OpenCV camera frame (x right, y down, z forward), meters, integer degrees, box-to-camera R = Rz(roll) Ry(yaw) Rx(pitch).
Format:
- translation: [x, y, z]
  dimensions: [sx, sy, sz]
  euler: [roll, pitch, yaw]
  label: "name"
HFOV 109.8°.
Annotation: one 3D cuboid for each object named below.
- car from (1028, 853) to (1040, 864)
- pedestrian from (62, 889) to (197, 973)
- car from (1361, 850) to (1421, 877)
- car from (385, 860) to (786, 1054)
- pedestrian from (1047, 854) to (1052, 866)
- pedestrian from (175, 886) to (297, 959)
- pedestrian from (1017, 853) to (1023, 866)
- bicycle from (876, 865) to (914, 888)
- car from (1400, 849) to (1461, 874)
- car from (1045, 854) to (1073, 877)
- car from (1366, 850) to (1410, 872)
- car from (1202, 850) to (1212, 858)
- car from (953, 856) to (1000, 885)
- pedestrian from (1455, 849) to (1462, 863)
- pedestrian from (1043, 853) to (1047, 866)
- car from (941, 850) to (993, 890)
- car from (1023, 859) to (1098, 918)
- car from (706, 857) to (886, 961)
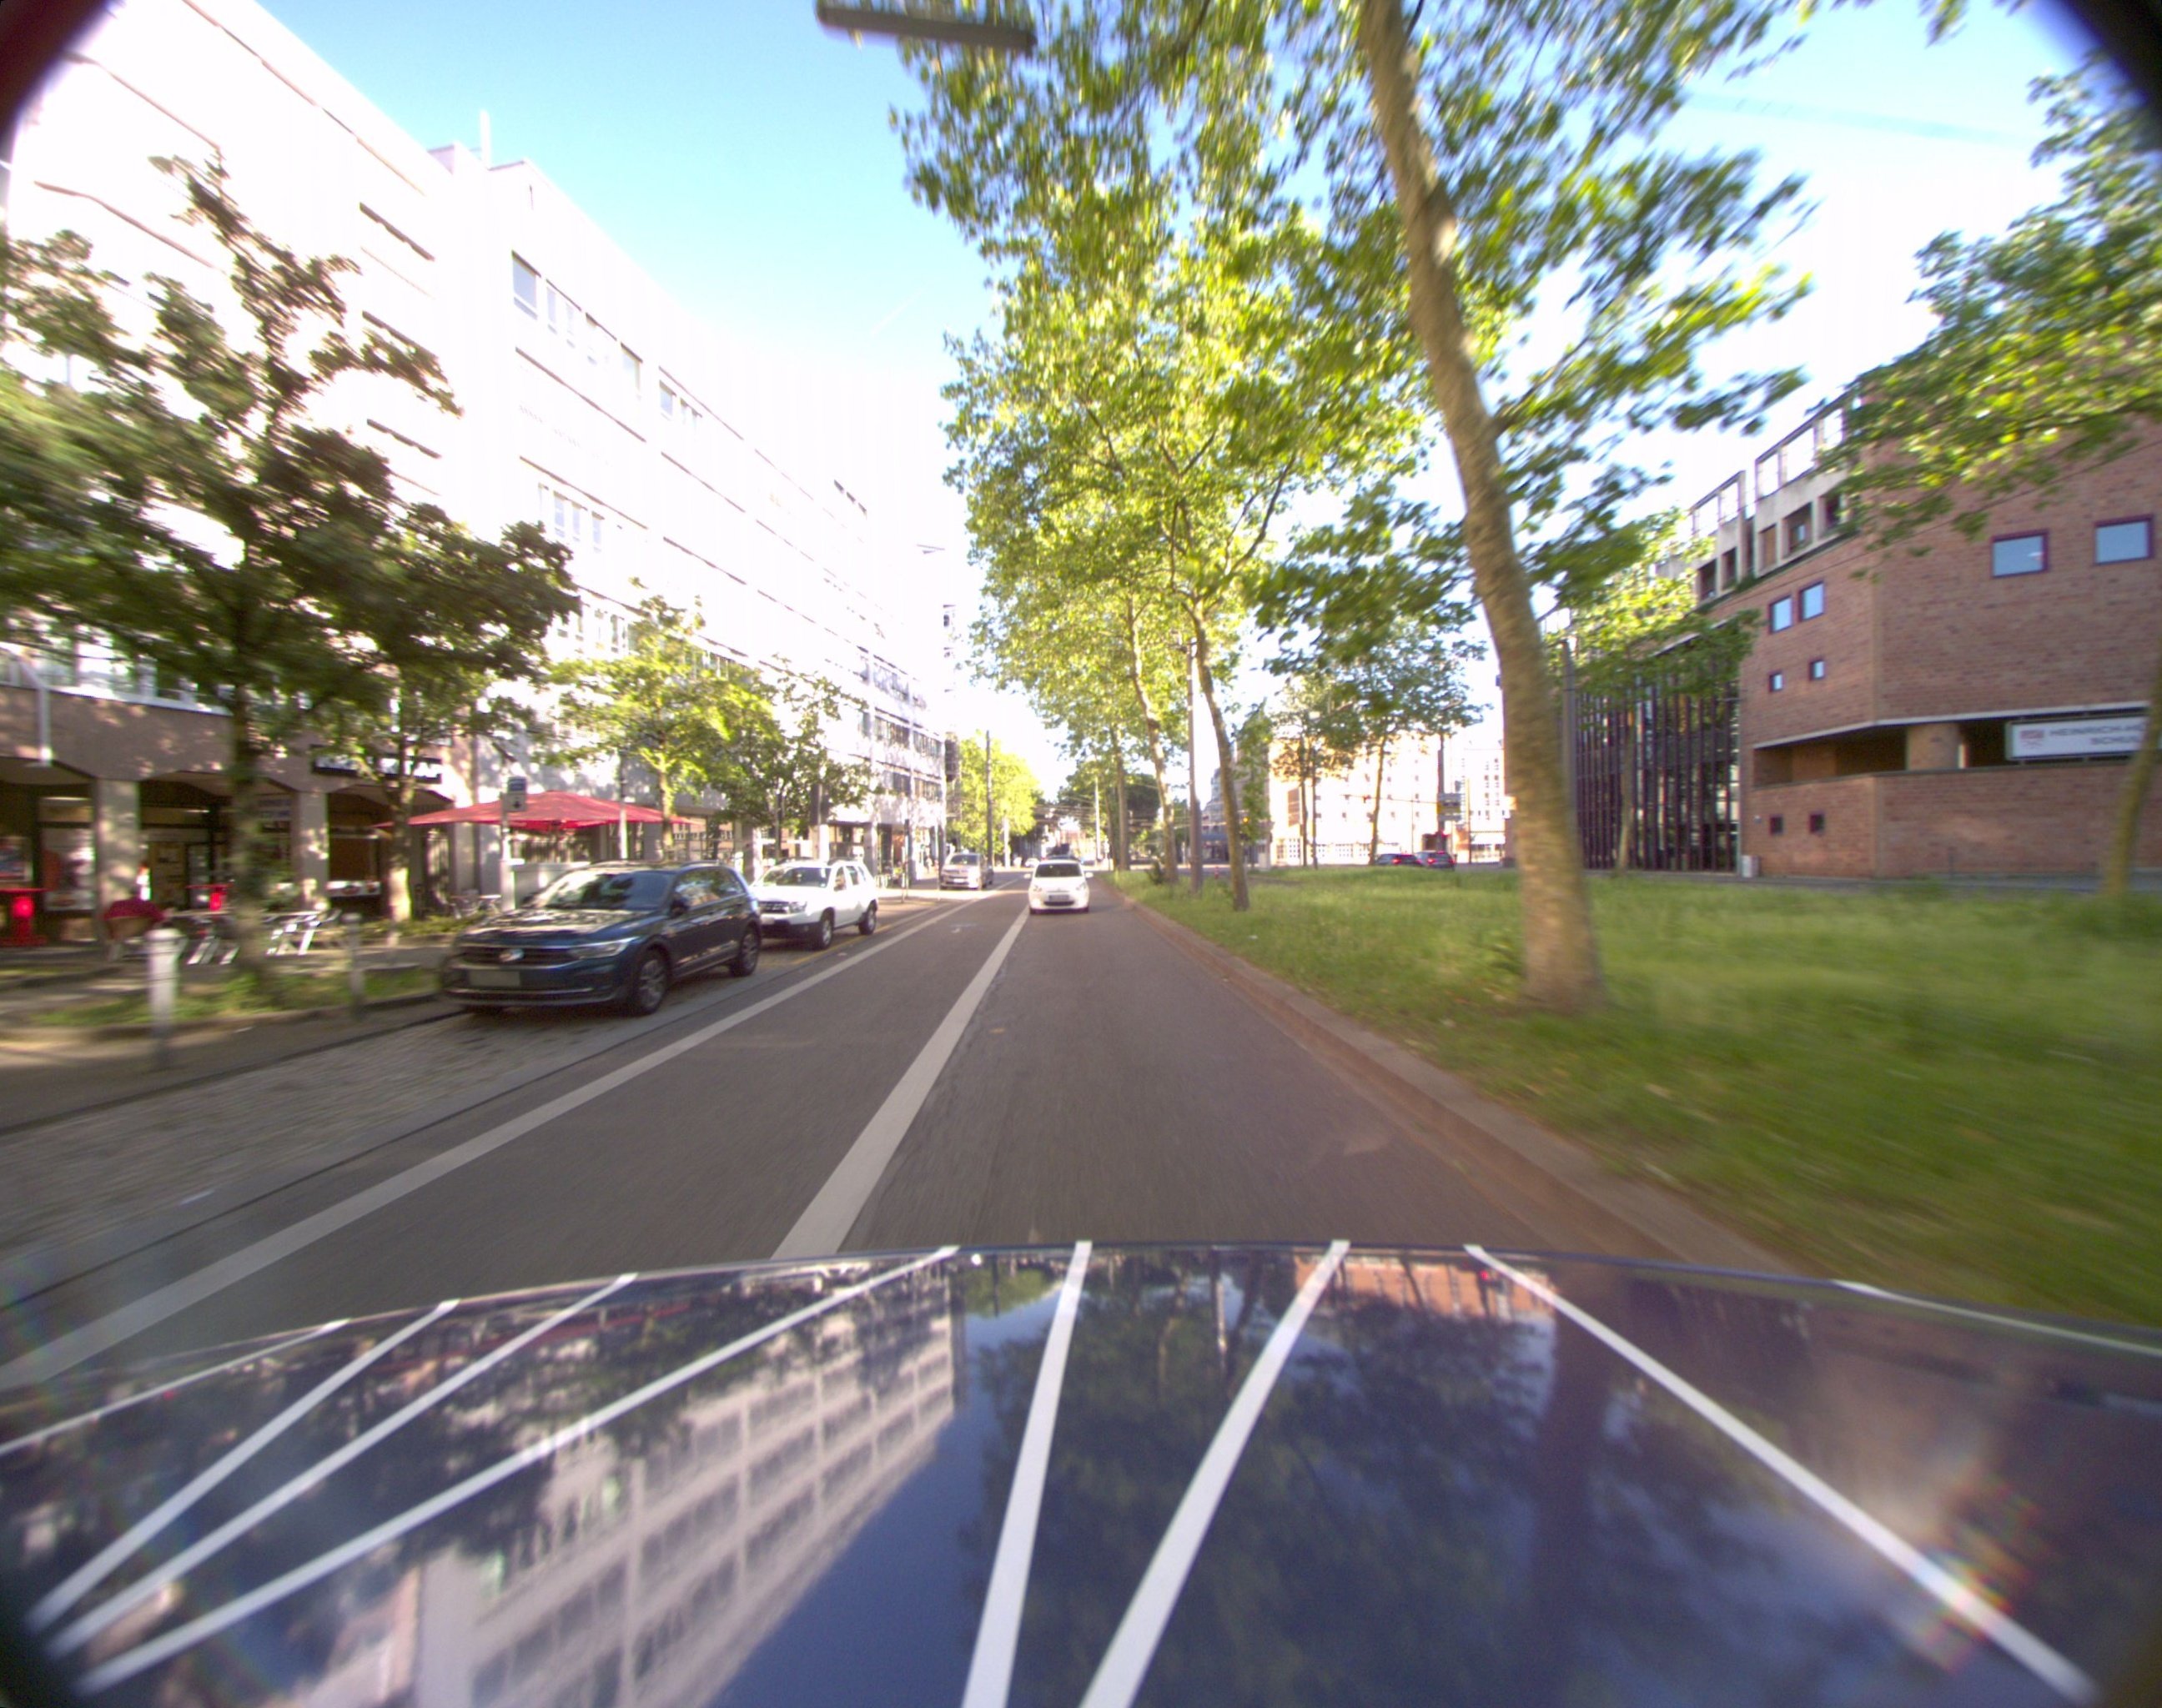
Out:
- translation: [-7.597, 0.778, 123.482]
  dimensions: [1.866, 1.724, 4.018]
  euler: [-1, 0, -1]
  label: "car"
- translation: [-15.253, 1.215, 12.213]
  dimensions: [0.931, 1.243, 0.969]
  euler: [-1, 0, 3]
  label: "pedestrian"
- translation: [17.580, 0.515, 43.235]
  dimensions: [1.617, 1.420, 4.149]
  euler: [-1, 0, -1]
  label: "car"
- translation: [-5.383, 0.947, 9.177]
  dimensions: [1.802, 1.714, 4.574]
  euler: [1, 0, 1]
  label: "car"
- translation: [-5.329, 1.058, 128.324]
  dimensions: [0.653, 2.002, 0.742]
  euler: [-1, 0, -2]
  label: "pedestrian"
- translation: [-15.126, 1.206, 13.633]
  dimensions: [0.887, 1.205, 1.124]
  euler: [-1, 0, 10]
  label: "pedestrian"
- translation: [-9.683, 0.899, 120.894]
  dimensions: [0.657, 2.002, 0.645]
  euler: [-1, 1, -30]
  label: "pedestrian"
- translation: [-9.449, 1.157, 38.678]
  dimensions: [1.777, 1.100, 0.666]
  euler: [-1, 0, -2]
  label: "bicycle"
- translation: [21.092, 0.459, 46.057]
  dimensions: [1.675, 1.420, 4.149]
  euler: [-1, 0, -1]
  label: "car"
- translation: [-1.629, 0.846, 57.240]
  dimensions: [1.999, 1.626, 4.452]
  euler: [-1, 0, 0]
  label: "car"
- translation: [21.086, 0.447, 52.315]
  dimensions: [1.617, 1.420, 3.221]
  euler: [-1, 0, -1]
  label: "car"
- translation: [28.436, -0.047, 171.139]
  dimensions: [1.703, 1.641, 4.001]
  euler: [-1, 0, 3]
  label: "car"
- translation: [-6.077, 0.917, 44.479]
  dimensions: [1.921, 1.631, 4.018]
  euler: [1, 0, 4]
  label: "car"
- translation: [40.928, 0.236, 82.351]
  dimensions: [0.566, 1.495, 0.512]
  euler: [-1, -1, 22]
  label: "pedestrian"
- translation: [-5.745, 0.913, 121.062]
  dimensions: [0.614, 2.002, 0.530]
  euler: [-1, 1, -2]
  label: "pedestrian"
- translation: [-5.743, 0.779, 38.858]
  dimensions: [1.922, 1.893, 4.861]
  euler: [1, 0, 0]
  label: "car"
- translation: [-0.502, 0.929, 22.393]
  dimensions: [1.720, 1.442, 4.426]
  euler: [-4, 0, 4]
  label: "car"
- translation: [-5.331, 0.927, 14.927]
  dimensions: [1.802, 1.714, 4.460]
  euler: [1, 0, 1]
  label: "car"
